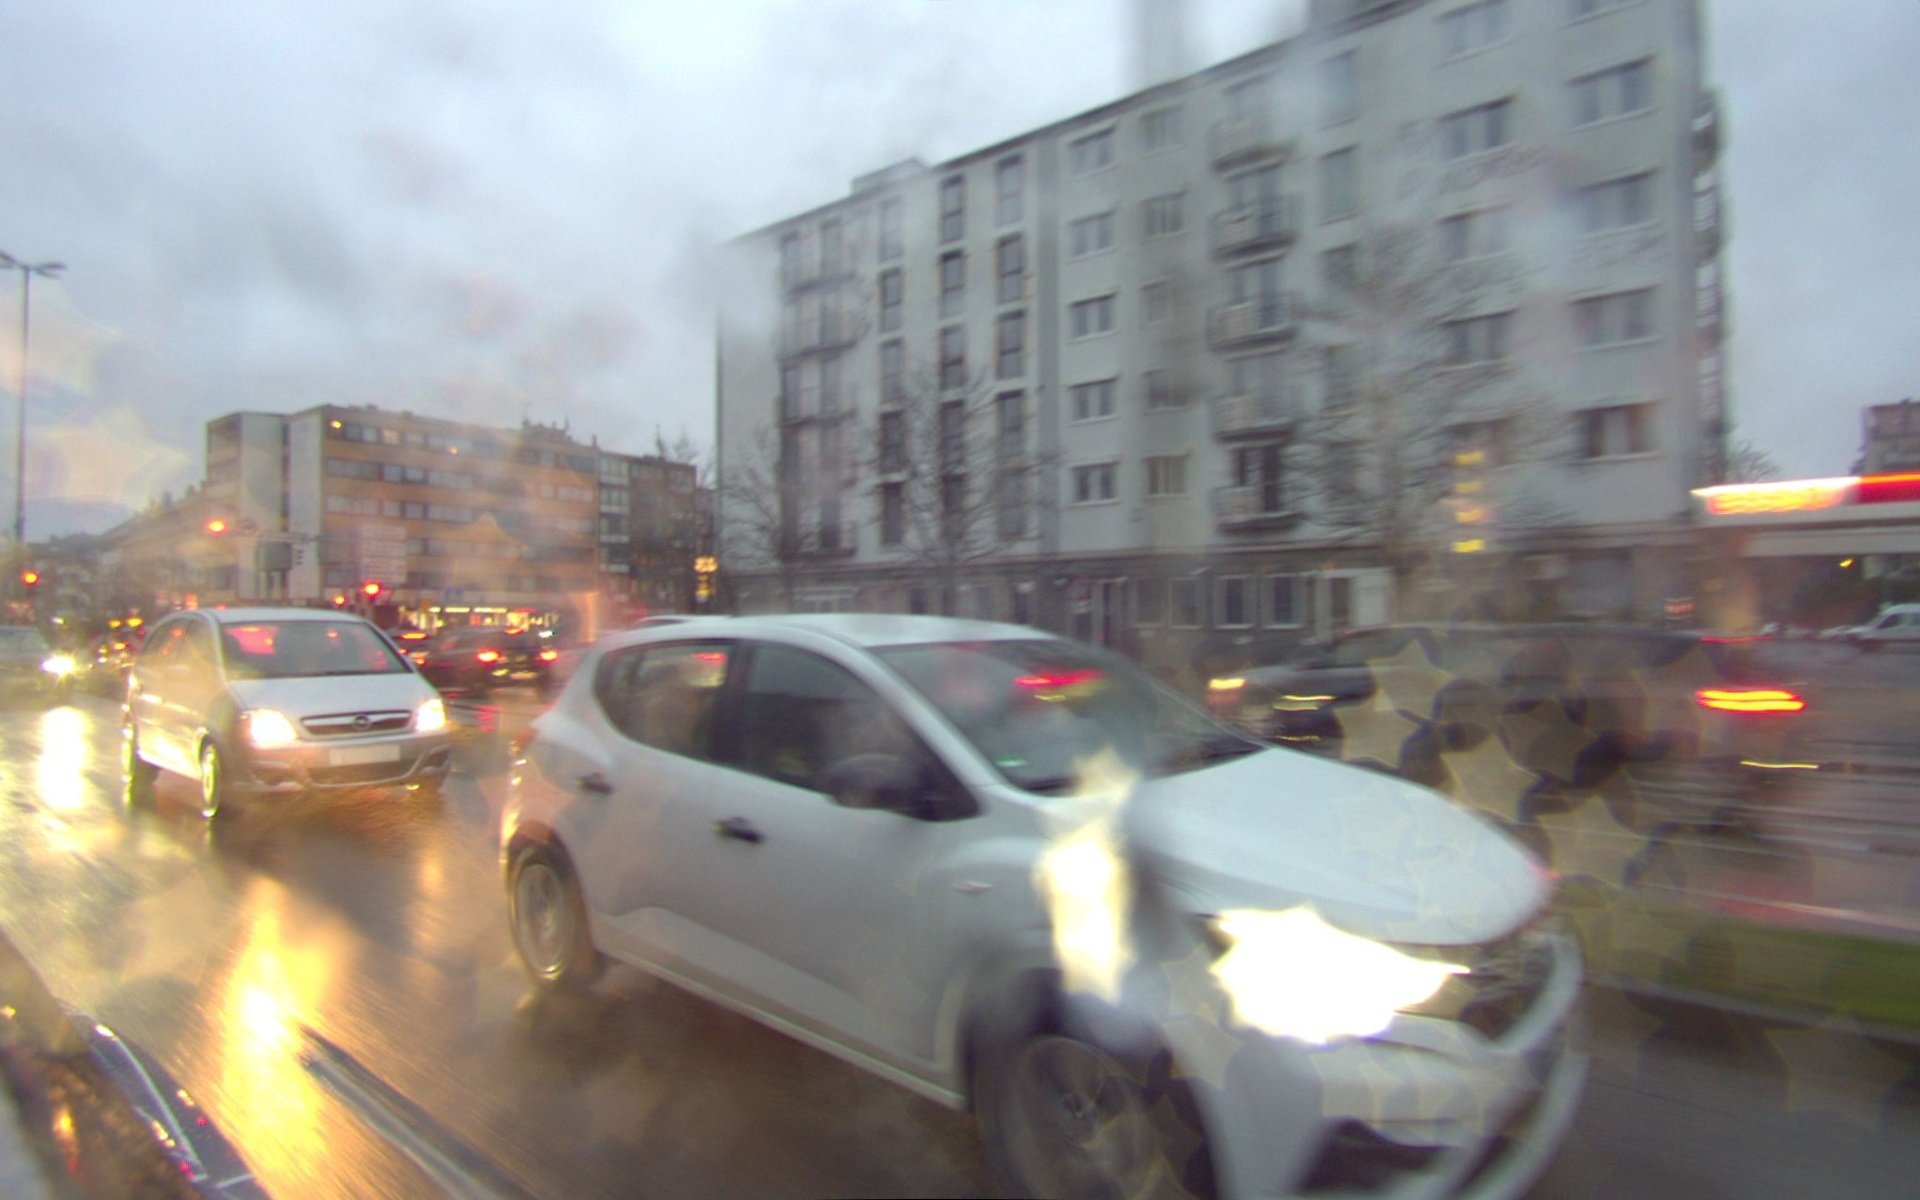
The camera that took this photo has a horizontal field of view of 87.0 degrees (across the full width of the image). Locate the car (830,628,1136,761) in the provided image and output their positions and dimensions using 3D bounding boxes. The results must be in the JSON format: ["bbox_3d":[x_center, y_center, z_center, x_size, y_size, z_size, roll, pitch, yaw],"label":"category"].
[{"bbox_3d":[0.184,1.153,13.423,4.000,1.498,1.627,-2,-3,43],"label":"car"}]

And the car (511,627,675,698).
[{"bbox_3d":[-9.406,1.549,25.768,4.530,1.652,1.942,-2,-3,40],"label":"car"}]

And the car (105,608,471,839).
[{"bbox_3d":[-5.998,0.889,8.842,4.107,1.560,1.628,-2,-2,41],"label":"car"}]

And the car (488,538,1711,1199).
[{"bbox_3d":[0.036,0.730,3.529,3.998,1.498,1.609,-2,-3,42],"label":"car"}]

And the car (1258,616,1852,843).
[{"bbox_3d":[4.881,0.944,8.729,4.144,1.498,1.627,-2,-3,43],"label":"car"}]

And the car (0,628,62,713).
[{"bbox_3d":[-18.979,1.323,19.596,3.996,1.556,1.731,-2,-3,39],"label":"car"}]

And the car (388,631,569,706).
[{"bbox_3d":[-10.817,1.476,22.611,4.530,1.526,1.942,-2,-3,40],"label":"car"}]

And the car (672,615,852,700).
[{"bbox_3d":[-4.161,1.135,21.027,3.802,1.593,1.770,-2,-2,42],"label":"car"}]

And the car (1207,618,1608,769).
[{"bbox_3d":[5.427,1.068,12.668,4.280,1.579,1.627,-2,-3,43],"label":"car"}]

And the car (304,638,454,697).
[{"bbox_3d":[-15.134,1.710,26.275,4.530,1.397,1.942,-2,-3,40],"label":"car"}]

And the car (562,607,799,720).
[{"bbox_3d":[-5.145,1.104,18.345,4.530,1.796,1.942,-2,-3,40],"label":"car"}]
